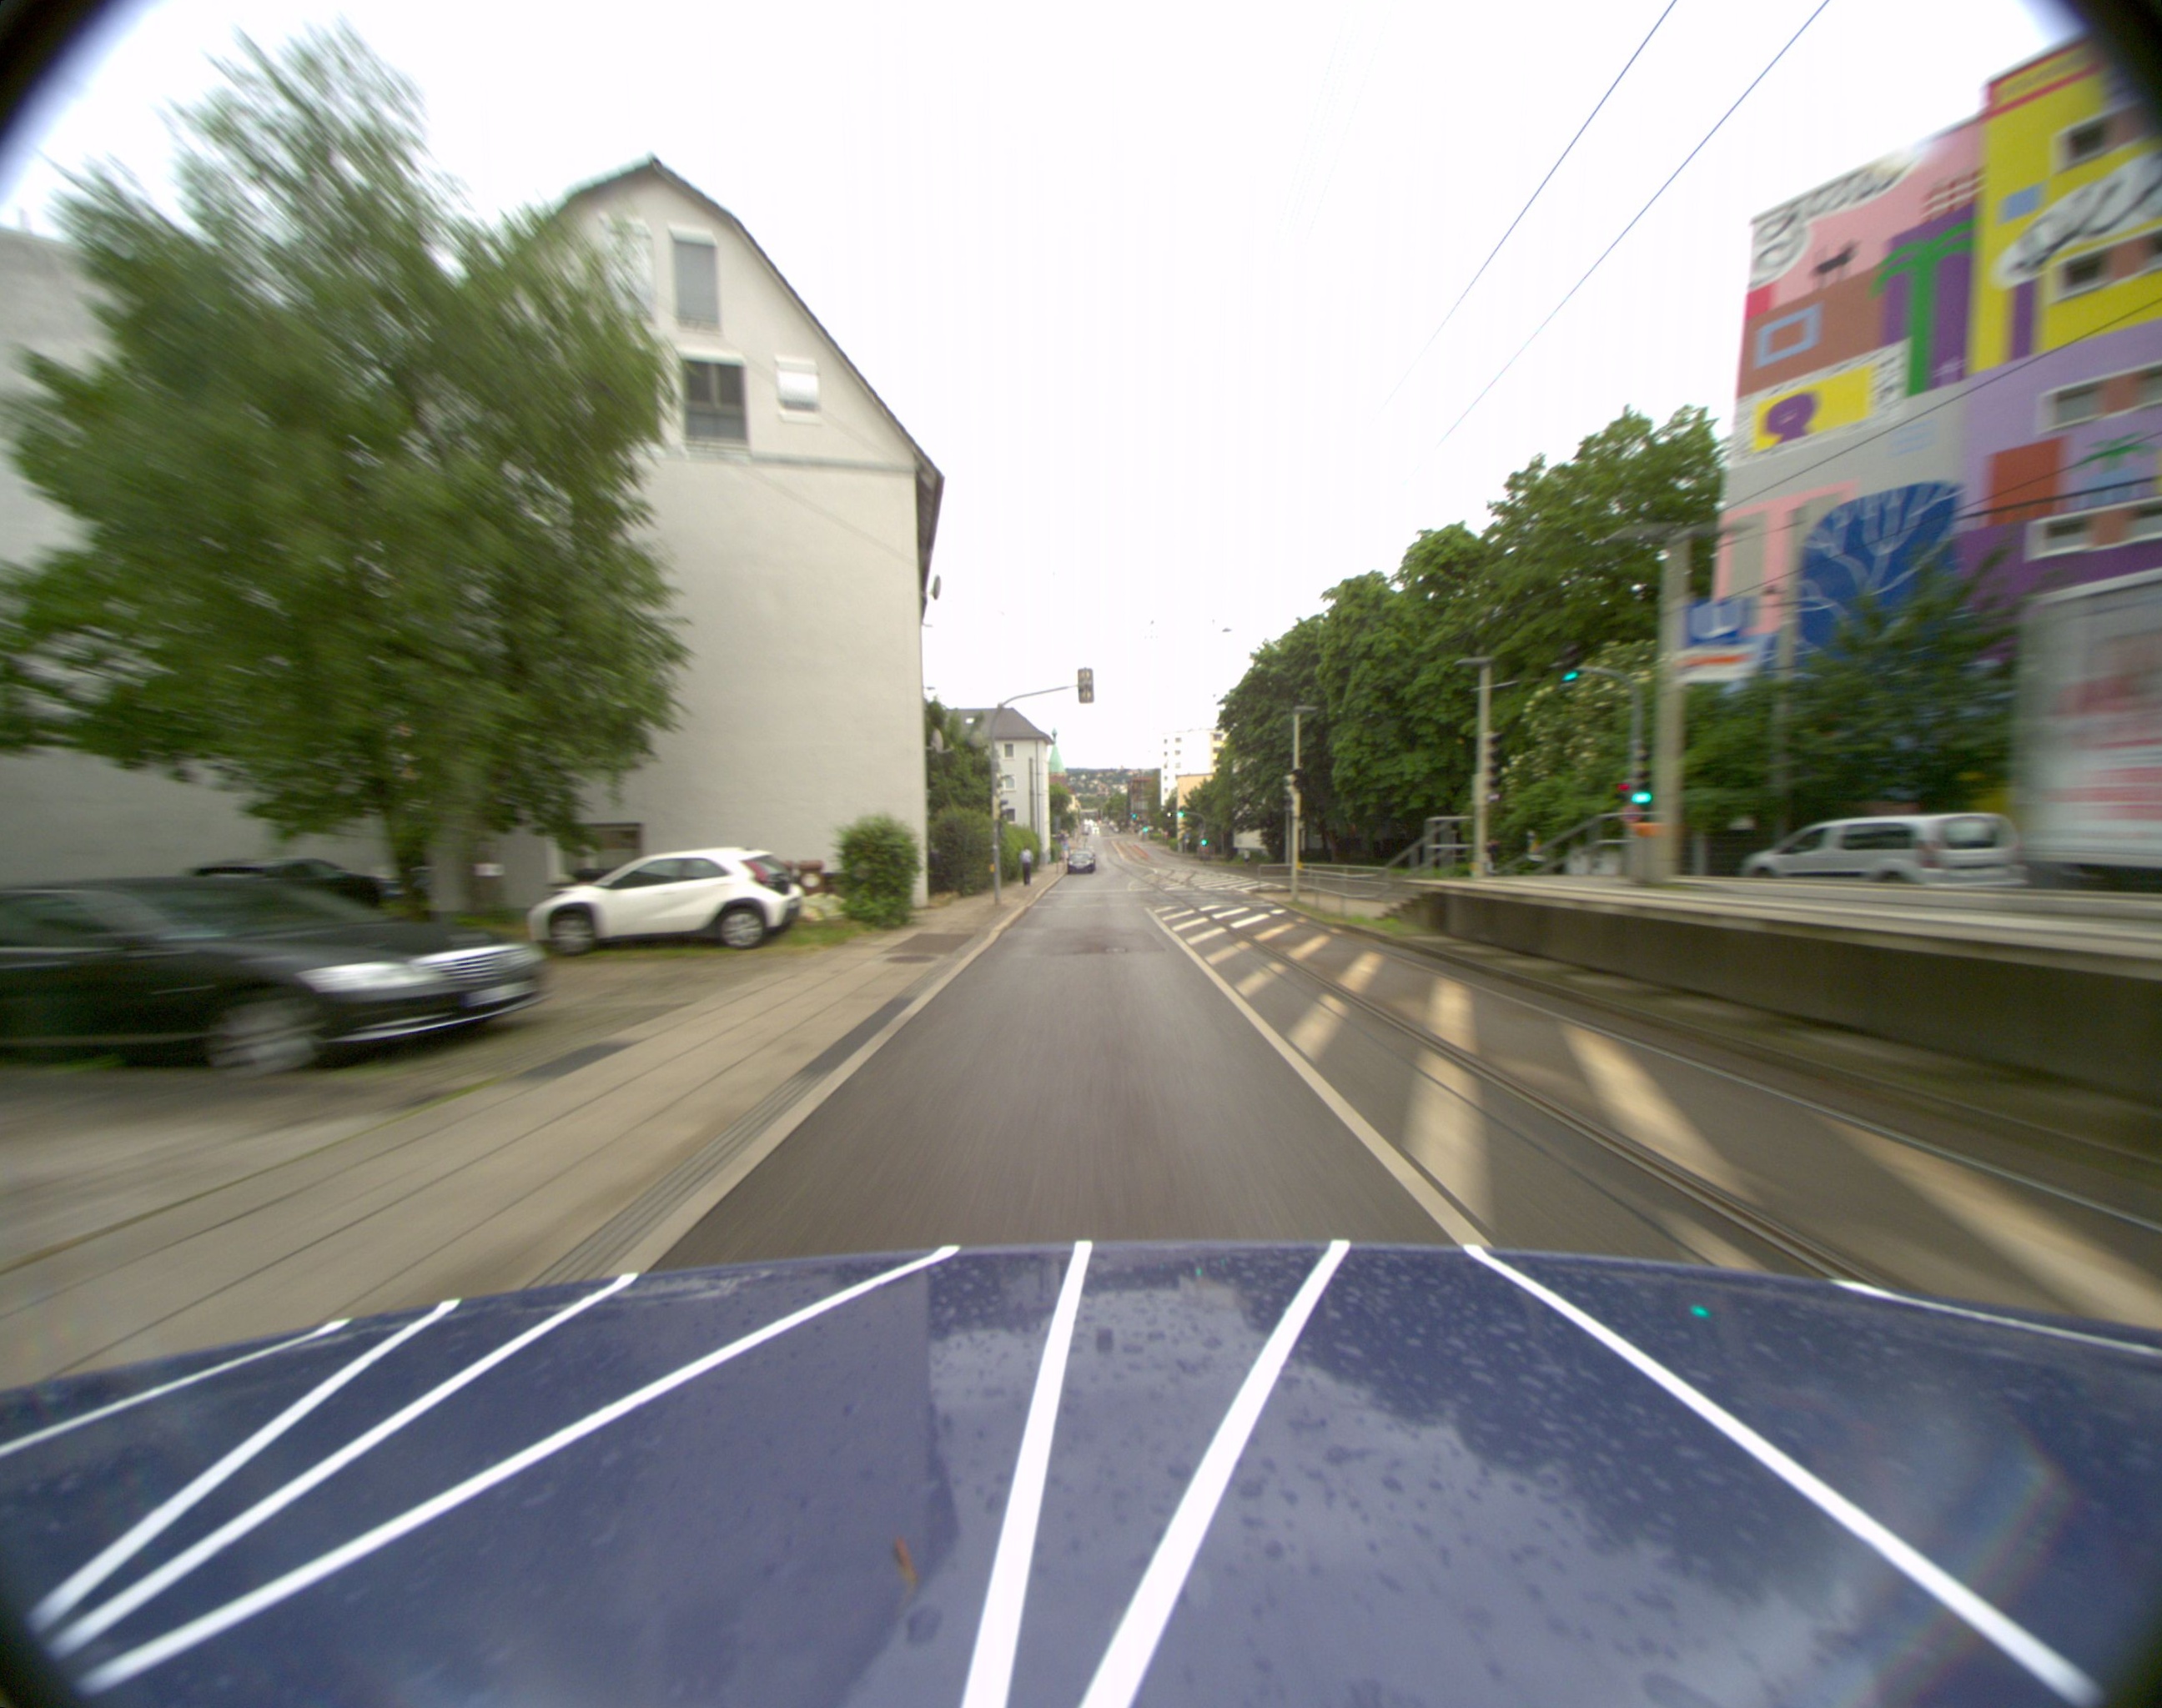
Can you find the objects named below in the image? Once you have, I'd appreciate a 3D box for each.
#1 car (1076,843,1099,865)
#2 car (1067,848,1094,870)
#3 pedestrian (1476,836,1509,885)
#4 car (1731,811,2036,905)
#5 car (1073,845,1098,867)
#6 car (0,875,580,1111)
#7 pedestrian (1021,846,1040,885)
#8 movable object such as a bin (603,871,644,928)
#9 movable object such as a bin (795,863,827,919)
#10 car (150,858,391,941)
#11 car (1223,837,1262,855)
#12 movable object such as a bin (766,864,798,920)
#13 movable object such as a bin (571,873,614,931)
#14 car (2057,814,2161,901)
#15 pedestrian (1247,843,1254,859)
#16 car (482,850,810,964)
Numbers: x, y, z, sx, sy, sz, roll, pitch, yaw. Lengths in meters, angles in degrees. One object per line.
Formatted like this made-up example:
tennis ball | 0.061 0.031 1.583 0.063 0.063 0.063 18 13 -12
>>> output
car | 0.566 -0.045 63.312 1.725 1.673 3.999 -2 2 2
car | -0.008 0.330 52.300 1.725 1.350 3.999 -2 2 2
pedestrian | 13.776 0.195 25.450 0.754 1.585 0.617 -3 2 2
car | 16.649 0.022 16.196 1.751 1.707 4.440 -1 1 -1
car | 0.382 0.135 58.026 1.725 1.480 3.999 -2 2 2
car | -7.138 1.012 6.056 4.943 1.428 1.975 -3 -1 1
pedestrian | -2.119 0.496 31.935 0.657 1.611 0.630 0 2 6
movable object such as a bin | -9.360 0.927 15.564 0.517 1.105 0.642 -2 2 -13
movable object such as a bin | -5.822 0.778 16.386 0.536 1.134 0.701 -3 2 -15
car | -18.289 0.932 17.470 1.690 1.503 3.995 -3 2 -11
car | 17.341 -0.871 81.762 3.993 1.740 2.001 -2 2 12
movable object such as a bin | -6.393 0.800 16.268 0.517 1.152 0.642 -2 2 -13
movable object such as a bin | -9.901 0.960 15.422 0.517 1.105 0.642 -2 2 -13
car | 21.628 0.097 14.141 1.713 1.629 3.942 -2 5 -29
pedestrian | 15.088 -0.289 67.690 0.529 1.418 0.528 -3 2 3
car | -6.575 0.754 11.908 3.998 1.459 1.815 -1 3 -4
